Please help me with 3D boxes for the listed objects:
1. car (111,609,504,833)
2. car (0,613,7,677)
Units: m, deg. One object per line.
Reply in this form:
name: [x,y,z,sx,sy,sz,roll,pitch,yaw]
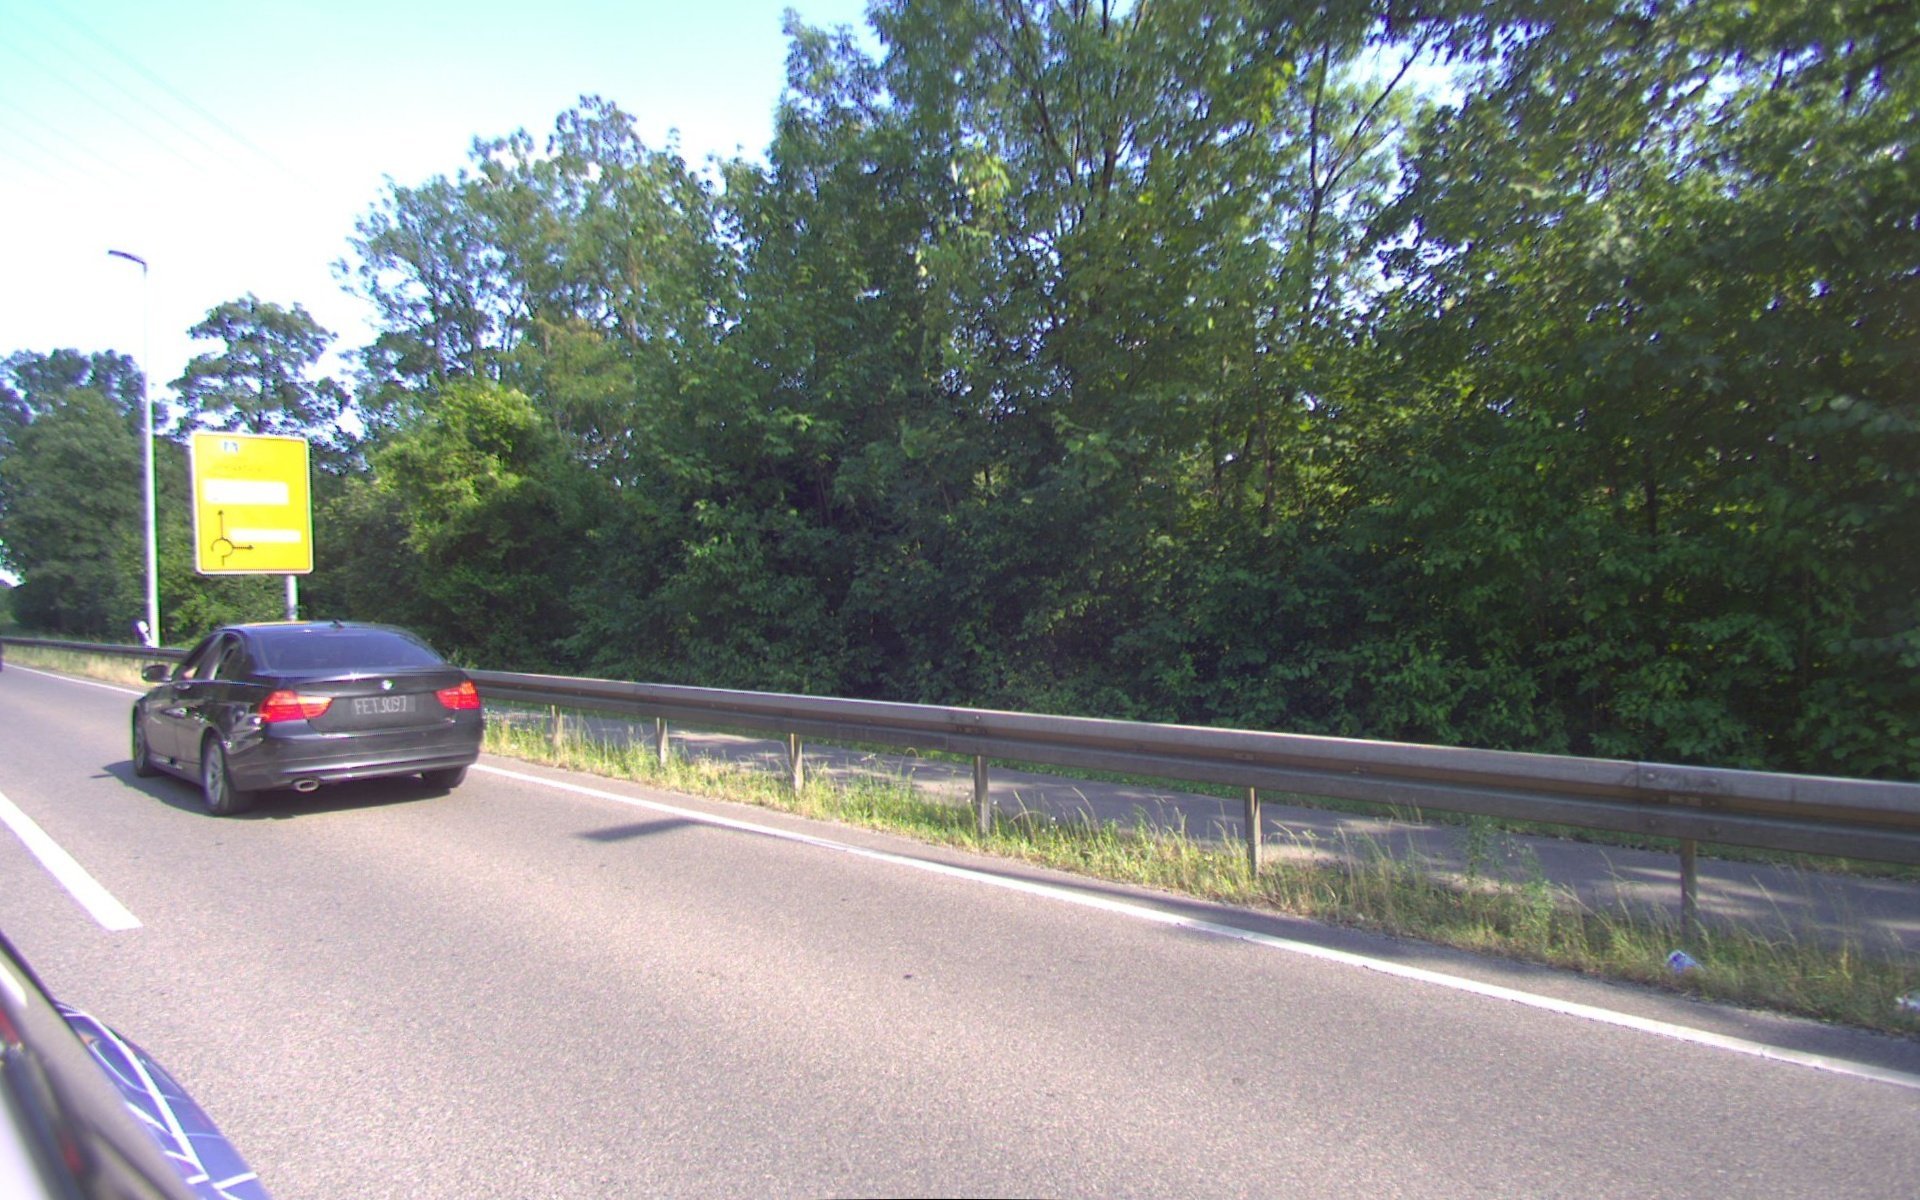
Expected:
car: [-5.598,0.827,8.471,4.139,1.431,1.674,-1,-2,41]
car: [-28.016,1.246,28.248,4.220,1.730,1.729,-1,-1,42]
